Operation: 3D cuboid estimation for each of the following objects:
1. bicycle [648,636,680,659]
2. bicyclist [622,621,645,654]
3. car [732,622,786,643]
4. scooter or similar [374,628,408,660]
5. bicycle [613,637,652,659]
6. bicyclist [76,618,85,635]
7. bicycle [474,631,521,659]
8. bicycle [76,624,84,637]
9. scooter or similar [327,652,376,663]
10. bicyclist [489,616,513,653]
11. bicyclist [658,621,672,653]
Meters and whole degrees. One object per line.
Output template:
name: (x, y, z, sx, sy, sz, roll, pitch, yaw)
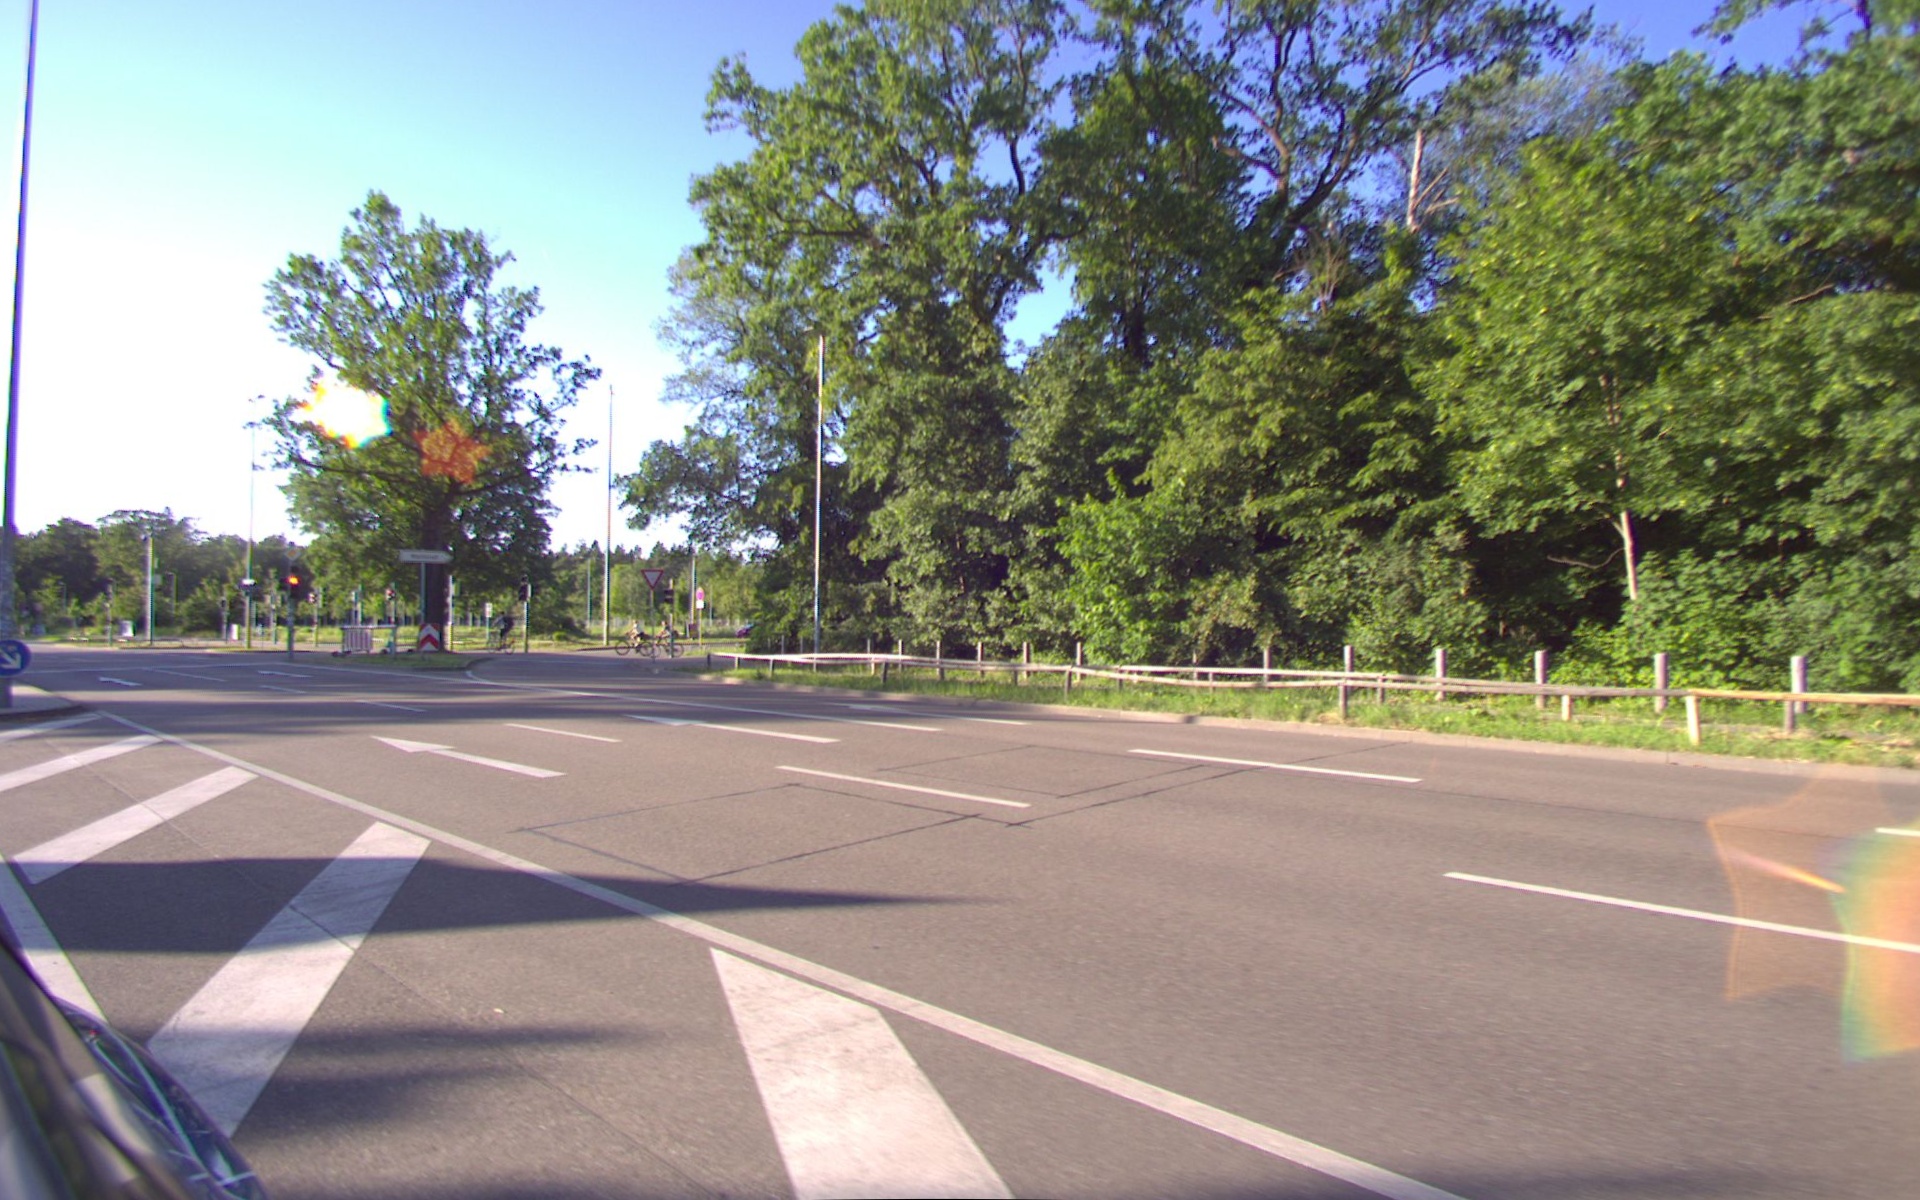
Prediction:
bicycle: (-13.404, 2.144, 45.867, 1.333, 0.984, 0.524, -1, 0, -11)
bicyclist: (-15.251, 1.757, 47.271, 0.789, 1.494, 0.730, -1, 0, 1)
car: (-16.435, 2.652, 82.735, 3.933, 1.521, 1.661, -1, 0, -35)
scooter or similar: (-21.151, 1.639, 37.621, 1.054, 1.155, 0.394, 1, -3, -42)
bicycle: (-15.299, 2.251, 47.268, 1.569, 0.984, 0.785, -1, 0, 1)
bicyclist: (-87.681, 2.654, 100.906, 0.672, 1.623, 0.801, -1, -1, -43)
bicycle: (-20.137, 1.958, 44.058, 1.971, 1.163, 0.677, -3, -2, 22)
bicycle: (-87.724, 3.060, 100.905, 0.487, 1.247, 1.796, -1, -1, -44)
scooter or similar: (-22.929, 2.159, 38.121, 1.390, 0.342, 1.261, 1, -3, -42)
bicyclist: (-19.957, 1.513, 43.995, 0.794, 1.563, 0.560, -3, -3, 22)
bicyclist: (-13.372, 1.662, 45.880, 0.521, 1.411, 0.520, -1, 0, -12)
